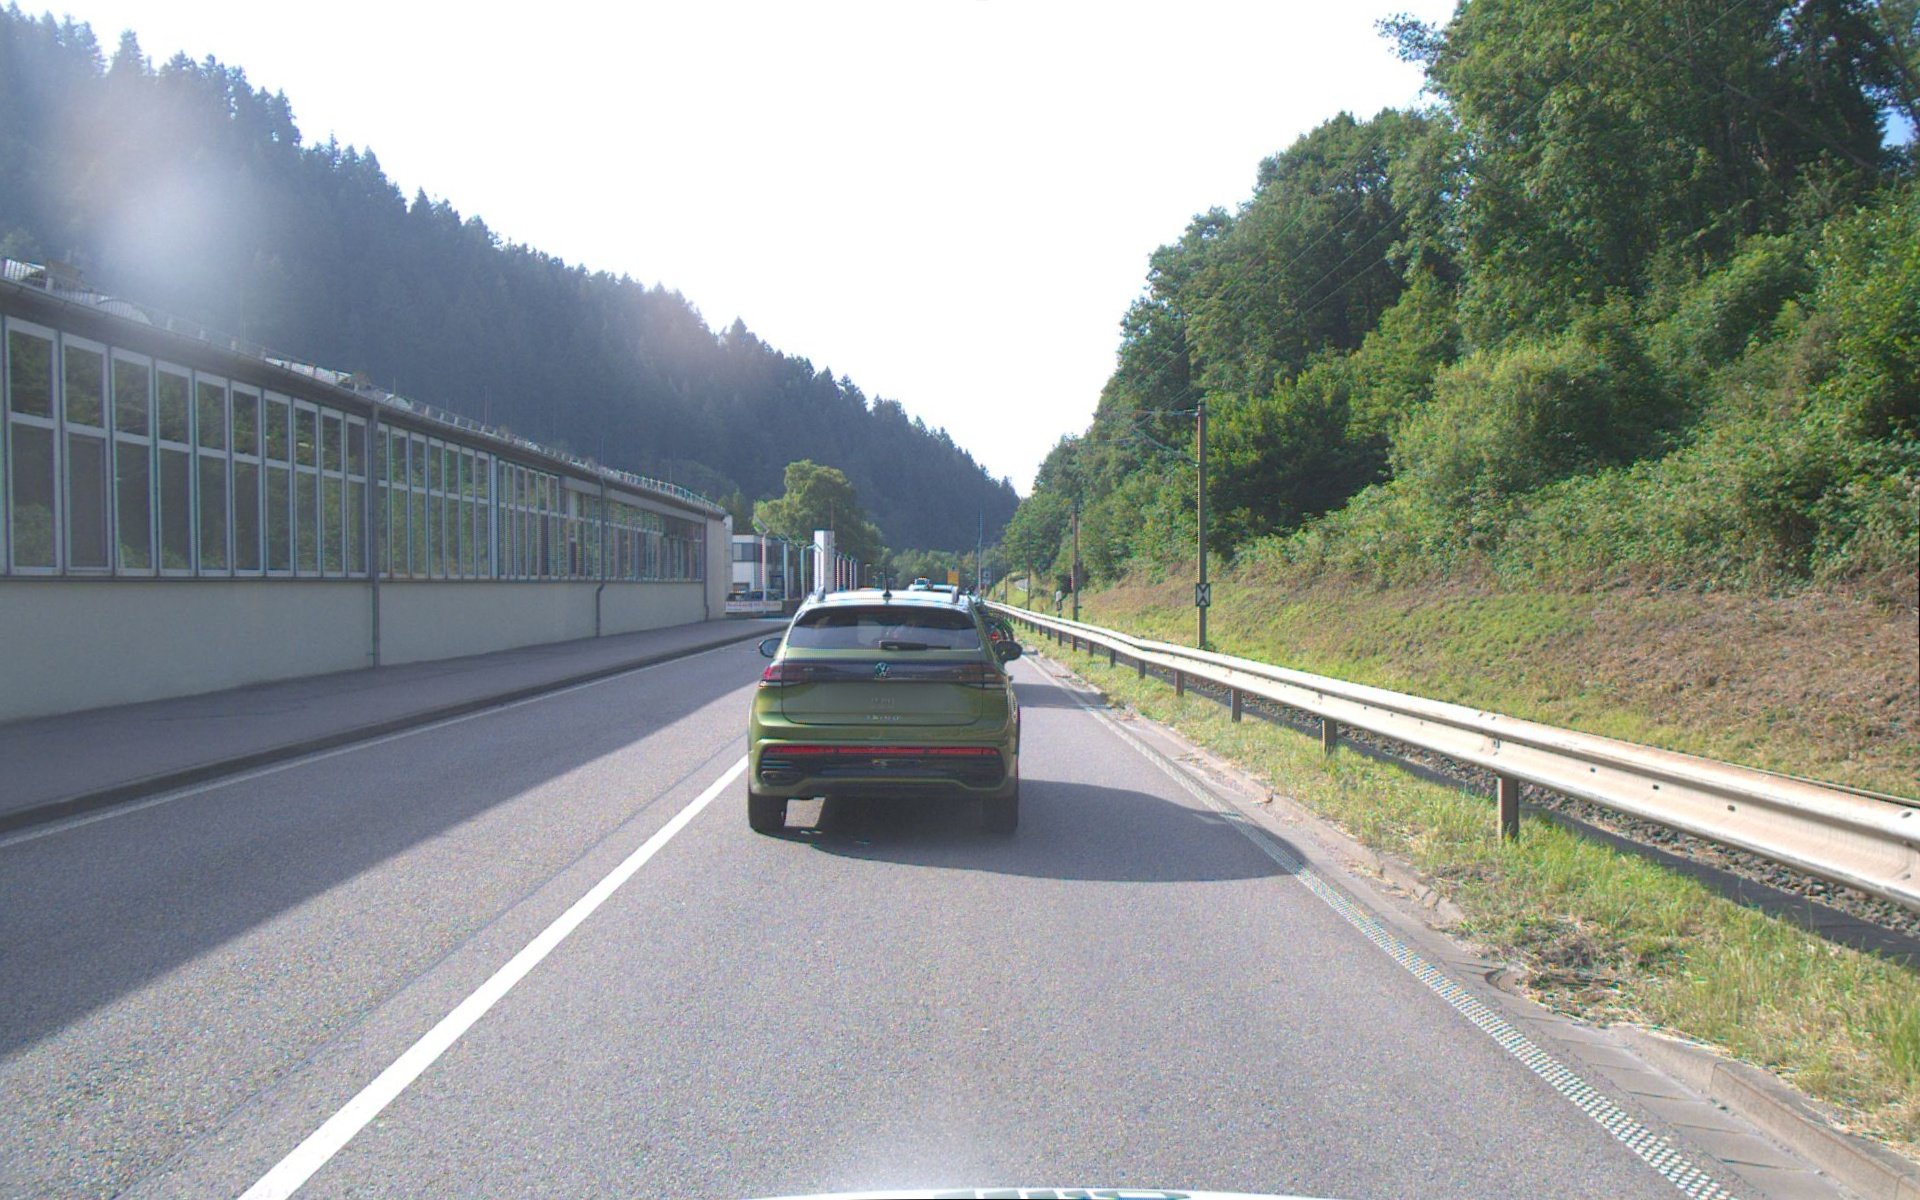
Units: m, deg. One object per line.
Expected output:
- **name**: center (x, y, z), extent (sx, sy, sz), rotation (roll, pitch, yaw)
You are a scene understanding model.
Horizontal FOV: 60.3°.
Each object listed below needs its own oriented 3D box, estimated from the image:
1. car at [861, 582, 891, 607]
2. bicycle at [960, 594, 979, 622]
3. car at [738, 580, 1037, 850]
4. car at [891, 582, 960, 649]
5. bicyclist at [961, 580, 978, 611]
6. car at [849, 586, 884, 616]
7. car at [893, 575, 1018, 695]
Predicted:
- **car**: center (-5.438, -0.357, 107.344), extent (1.738, 1.516, 4.051), rotation (1, 0, -1)
- **bicycle**: center (0.444, 0.364, 77.556), extent (0.795, 1.272, 2.121), rotation (0, 0, -3)
- **car**: center (-0.472, 0.644, 11.445), extent (1.704, 1.534, 3.999), rotation (0, 0, -2)
- **car**: center (-0.916, 0.372, 43.001), extent (1.704, 1.630, 3.999), rotation (0, 0, -2)
- **bicyclist**: center (0.427, -0.221, 77.532), extent (0.766, 1.436, 0.674), rotation (0, 0, -3)
- **car**: center (-5.014, 0.012, 89.189), extent (1.684, 1.540, 4.198), rotation (1, 0, -1)
- **car**: center (-0.126, 0.460, 24.587), extent (1.704, 1.630, 3.999), rotation (0, 0, -2)
